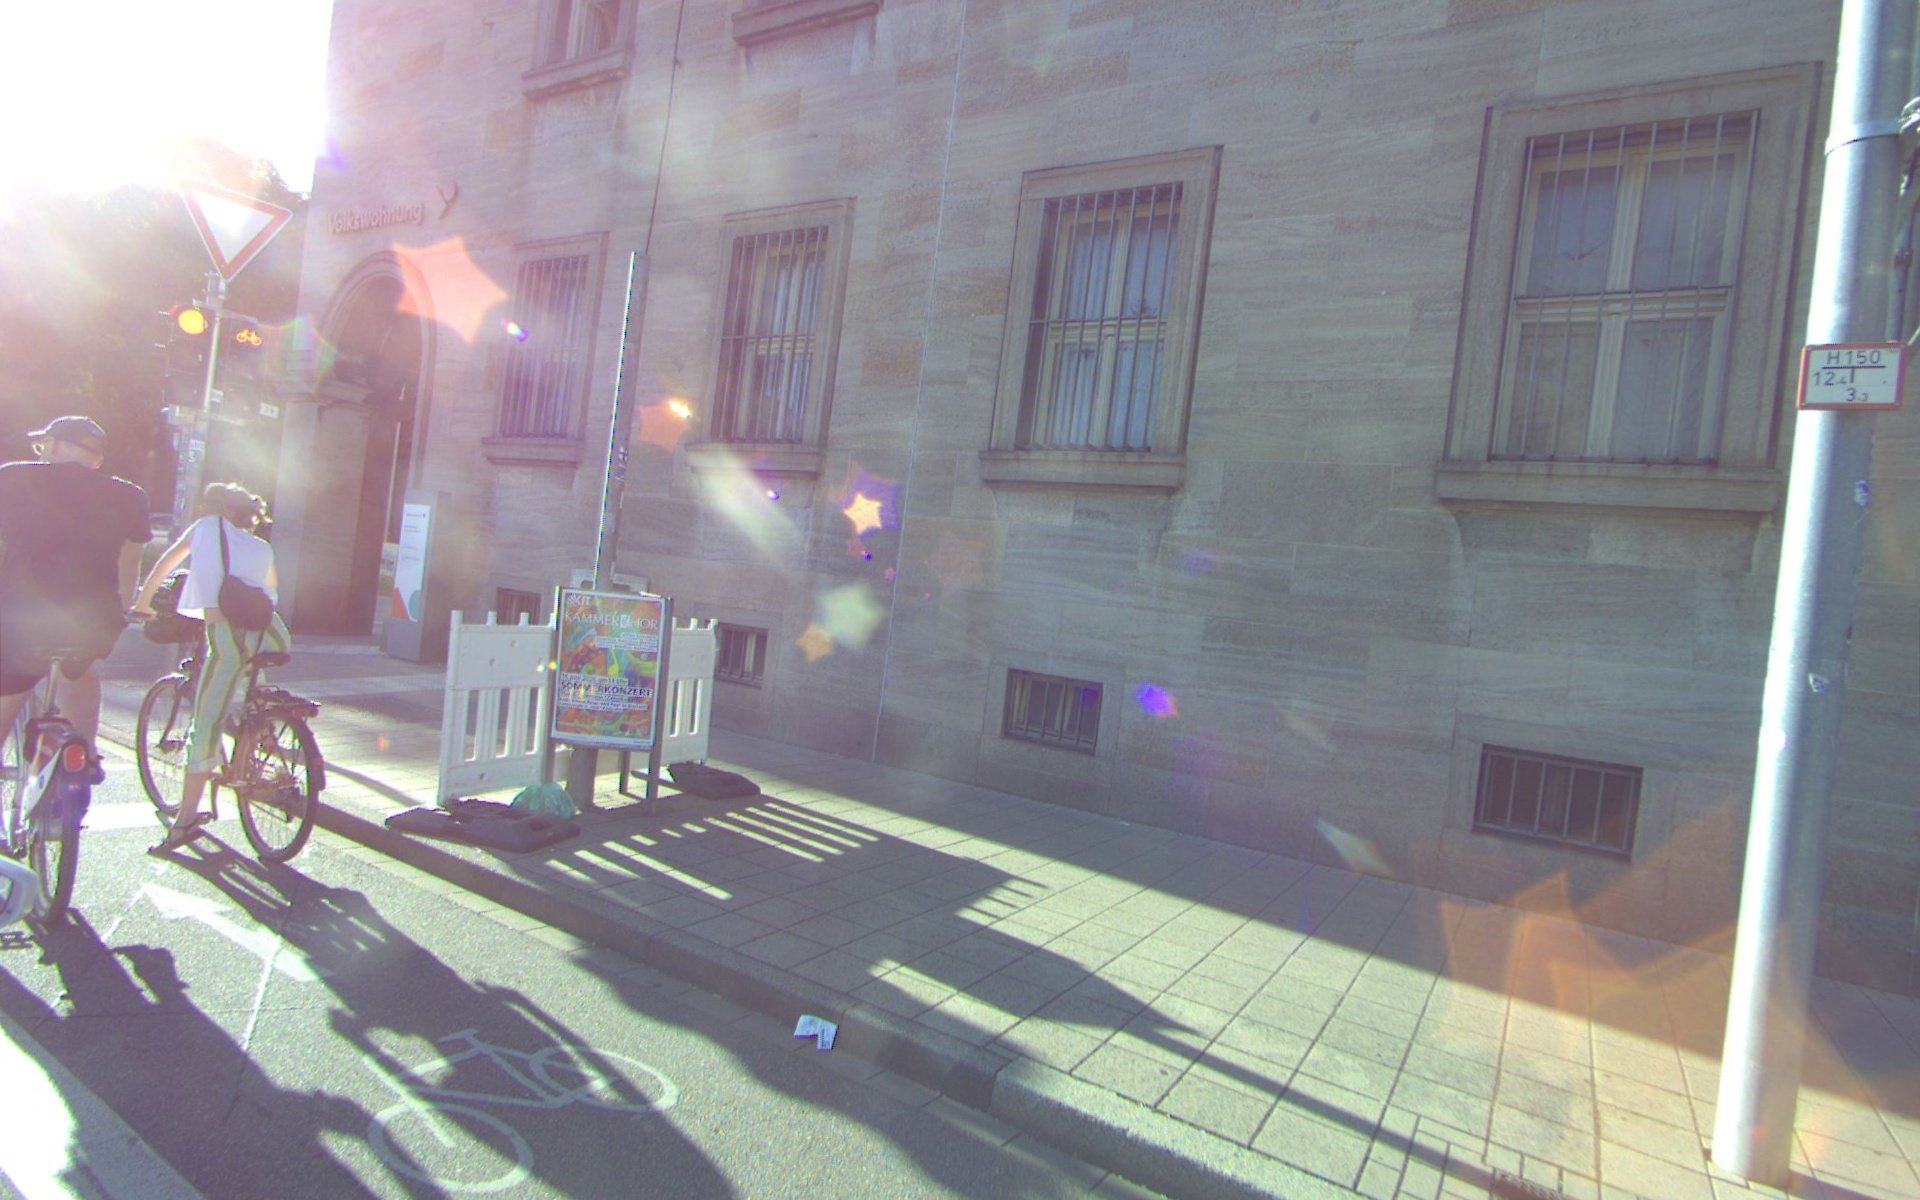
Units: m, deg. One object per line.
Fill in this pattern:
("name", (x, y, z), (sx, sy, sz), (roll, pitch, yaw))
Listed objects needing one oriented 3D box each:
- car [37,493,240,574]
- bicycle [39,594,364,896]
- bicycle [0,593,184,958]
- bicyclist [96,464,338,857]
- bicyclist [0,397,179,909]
("car", (-22.823, -1.809, 28.116), (1.622, 1.630, 3.999), (7, -1, 31))
("bicycle", (-3.682, 0.624, 4.840), (1.721, 1.090, 0.535), (7, -1, 31))
("bicycle", (-3.738, 0.577, 3.922), (1.700, 1.090, 0.516), (7, -1, 34))
("bicyclist", (-3.535, 0.269, 4.801), (0.629, 1.711, 0.558), (7, -1, 30))
("bicyclist", (-3.549, 0.196, 3.852), (0.541, 1.820, 0.559), (7, -1, 33))
